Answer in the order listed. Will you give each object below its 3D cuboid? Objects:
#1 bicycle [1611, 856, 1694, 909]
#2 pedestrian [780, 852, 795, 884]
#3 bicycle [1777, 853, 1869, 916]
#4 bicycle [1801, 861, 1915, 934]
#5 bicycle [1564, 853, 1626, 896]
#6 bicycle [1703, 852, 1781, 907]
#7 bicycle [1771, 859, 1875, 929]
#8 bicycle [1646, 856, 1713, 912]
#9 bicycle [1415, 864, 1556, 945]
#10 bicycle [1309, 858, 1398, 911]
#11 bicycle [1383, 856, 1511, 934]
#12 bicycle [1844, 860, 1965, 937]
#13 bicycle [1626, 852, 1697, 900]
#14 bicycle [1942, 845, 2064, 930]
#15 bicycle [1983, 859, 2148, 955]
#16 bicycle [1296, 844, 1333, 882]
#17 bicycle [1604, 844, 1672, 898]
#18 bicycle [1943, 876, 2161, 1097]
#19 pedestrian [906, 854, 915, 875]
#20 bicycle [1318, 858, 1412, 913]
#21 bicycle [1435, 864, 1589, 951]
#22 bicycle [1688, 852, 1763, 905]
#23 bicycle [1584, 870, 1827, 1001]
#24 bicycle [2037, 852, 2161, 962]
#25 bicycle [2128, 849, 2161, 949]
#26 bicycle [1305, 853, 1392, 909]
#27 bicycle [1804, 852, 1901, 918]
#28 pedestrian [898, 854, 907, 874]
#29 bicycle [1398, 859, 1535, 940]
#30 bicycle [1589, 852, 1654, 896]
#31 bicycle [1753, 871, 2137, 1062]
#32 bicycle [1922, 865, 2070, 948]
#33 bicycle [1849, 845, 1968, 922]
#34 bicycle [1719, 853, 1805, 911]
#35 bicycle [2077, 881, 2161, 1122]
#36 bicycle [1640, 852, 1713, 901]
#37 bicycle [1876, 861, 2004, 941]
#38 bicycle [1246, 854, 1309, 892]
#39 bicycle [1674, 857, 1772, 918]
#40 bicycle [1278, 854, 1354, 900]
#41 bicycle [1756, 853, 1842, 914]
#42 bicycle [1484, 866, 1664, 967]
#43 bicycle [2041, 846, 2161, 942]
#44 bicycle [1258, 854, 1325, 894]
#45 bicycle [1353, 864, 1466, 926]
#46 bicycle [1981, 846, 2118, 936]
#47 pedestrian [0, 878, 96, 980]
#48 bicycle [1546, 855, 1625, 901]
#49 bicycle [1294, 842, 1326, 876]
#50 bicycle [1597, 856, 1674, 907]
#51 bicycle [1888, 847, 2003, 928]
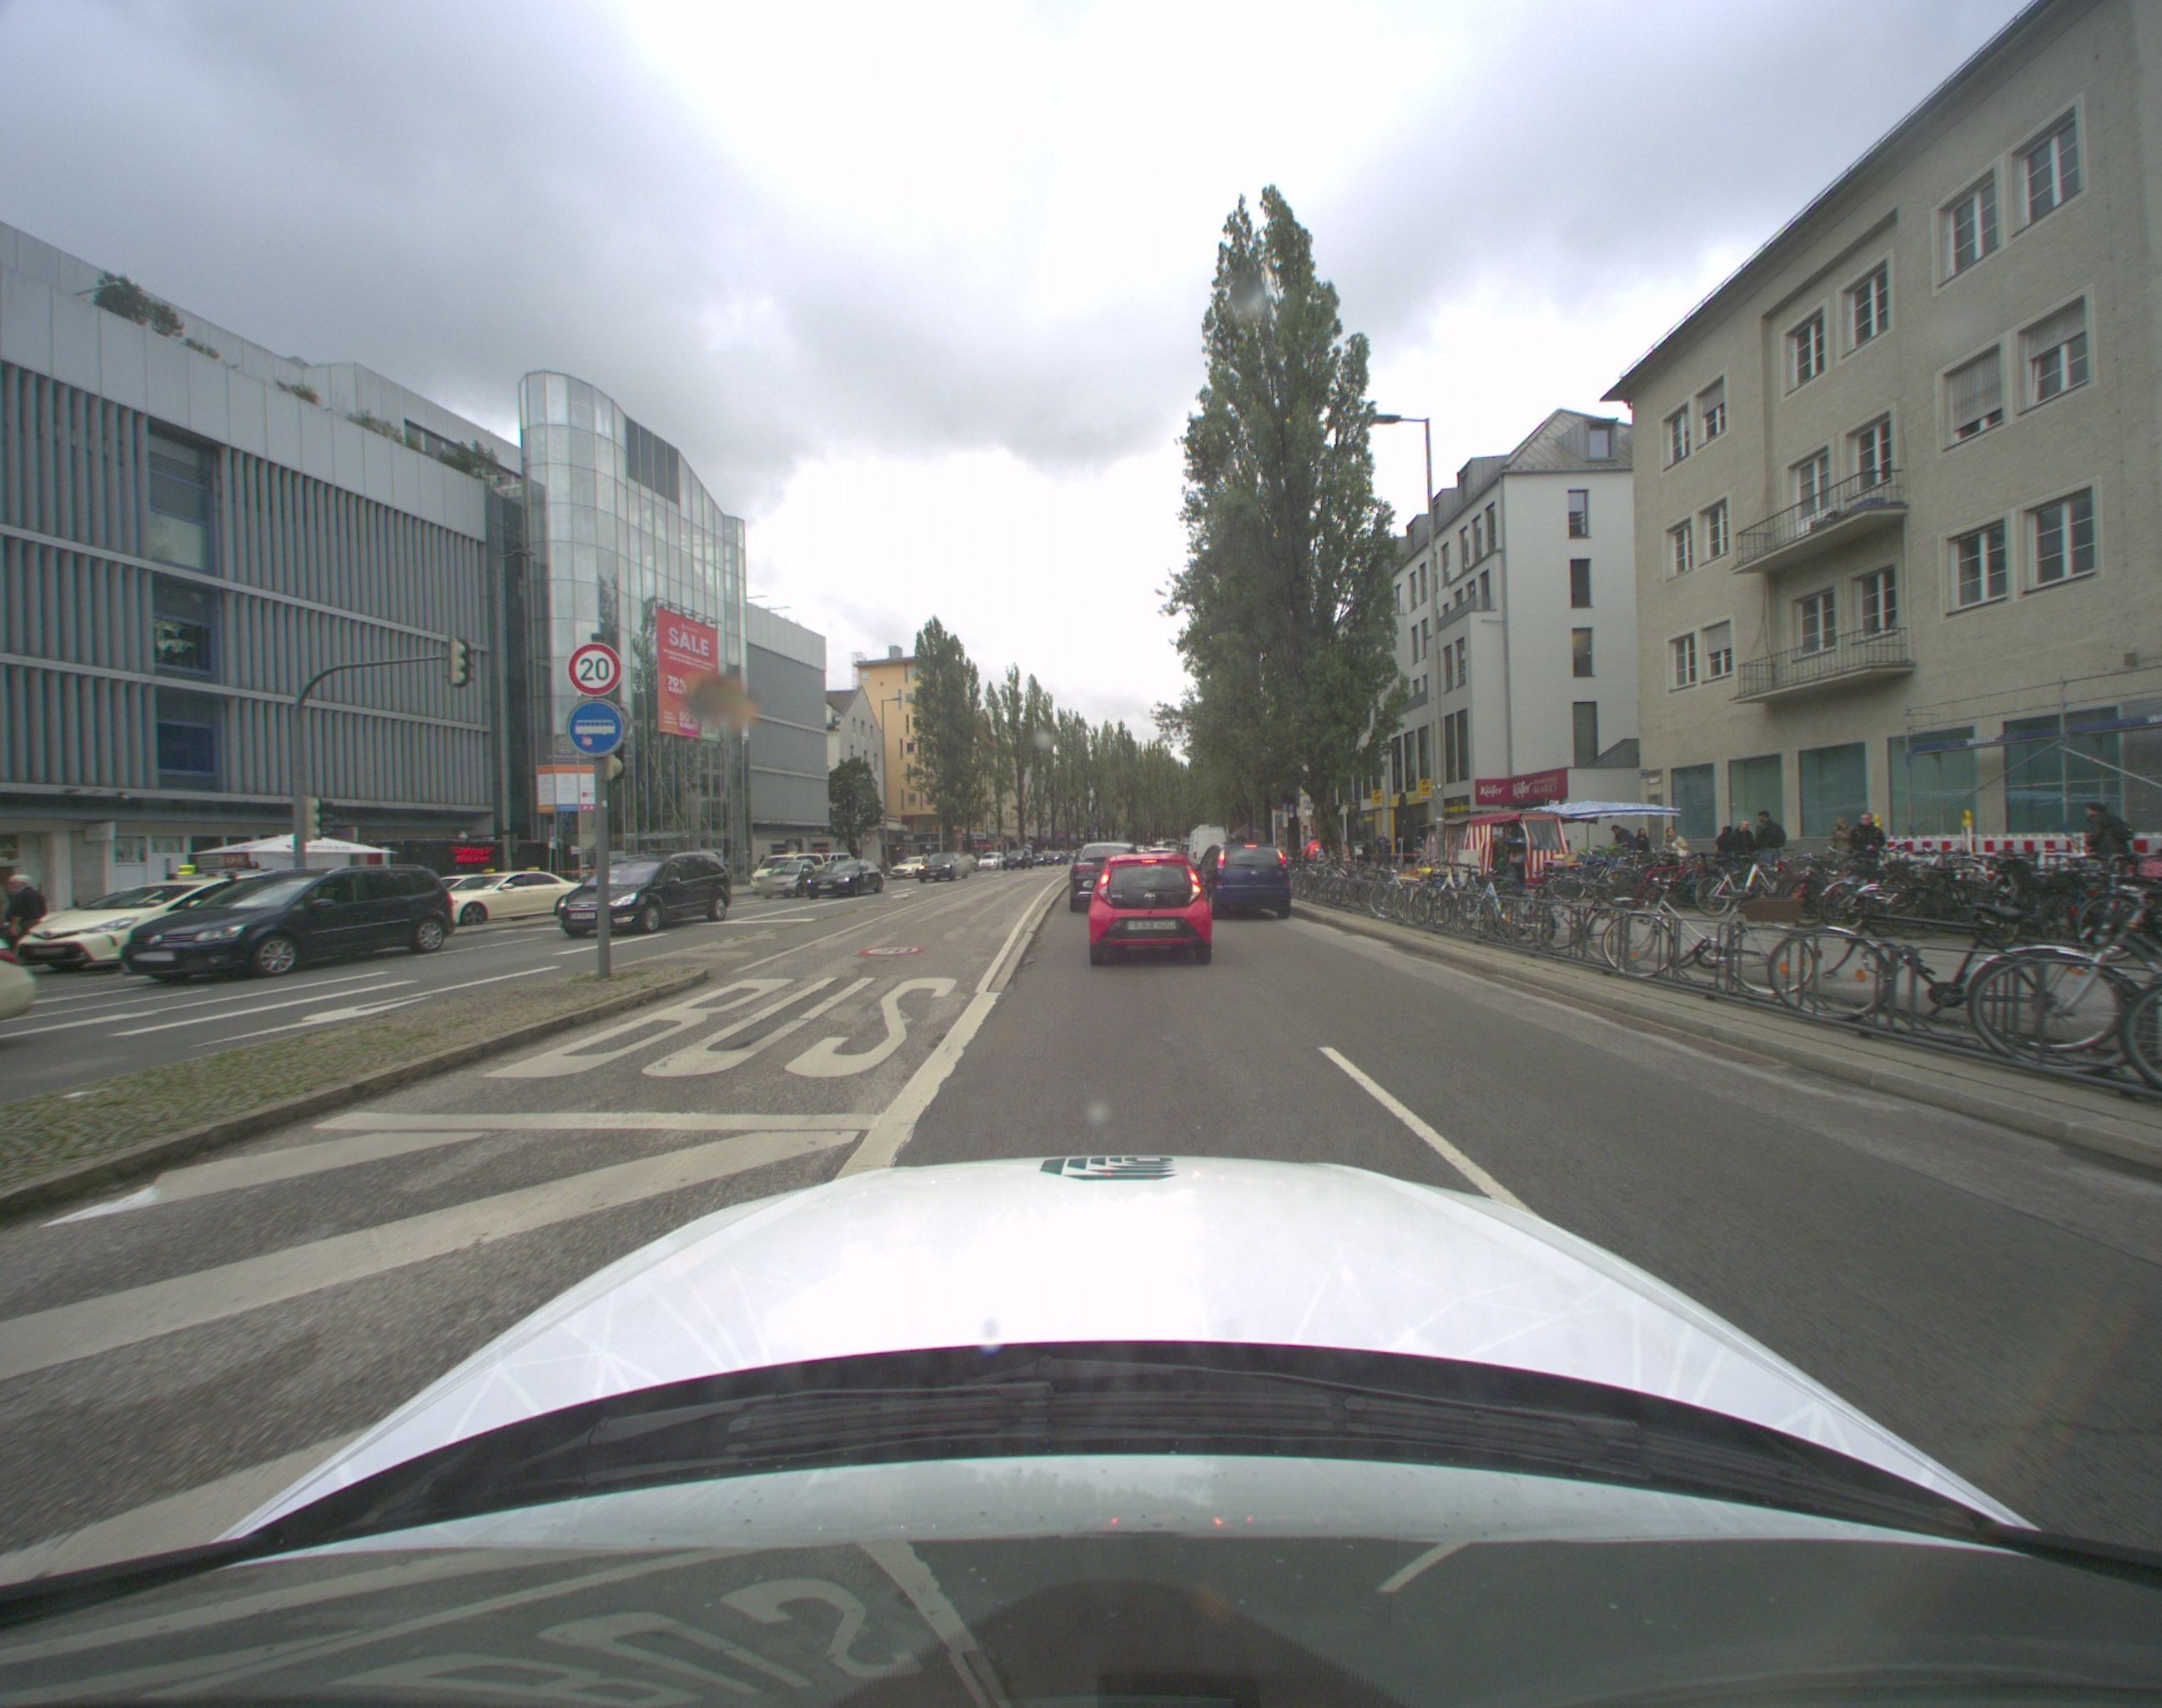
[{"bbox_3d":[11.082,0.553,15.816,1.253,0.963,0.370,-2,0,10],"label":"bicycle"},{"bbox_3d":[-17.242,0.831,47.883,0.553,1.817,0.630,-2,0,12],"label":"pedestrian"},{"bbox_3d":[12.237,0.494,13.433,1.242,0.981,0.368,-2,0,-6],"label":"bicycle"},{"bbox_3d":[10.908,0.602,11.450,1.175,0.963,0.370,-2,0,5],"label":"bicycle"},{"bbox_3d":[12.208,0.482,19.354,1.240,0.963,0.369,-2,0,-1],"label":"bicycle"},{"bbox_3d":[12.388,0.469,15.268,1.243,0.981,0.368,-2,0,-8],"label":"bicycle"},{"bbox_3d":[10.916,0.581,11.993,1.177,0.963,0.369,-2,0,-1],"label":"bicycle"},{"bbox_3d":[11.030,0.547,15.012,1.229,0.963,0.367,-2,0,-21],"label":"bicycle"},{"bbox_3d":[5.962,0.711,12.075,1.782,1.111,0.494,-1,0,44],"label":"bicycle"},{"bbox_3d":[6.142,0.671,18.421,1.815,1.136,0.590,-1,0,44],"label":"bicycle"},{"bbox_3d":[6.042,0.657,13.520,1.815,1.197,0.590,-1,0,44],"label":"bicycle"},{"bbox_3d":[10.901,0.584,10.800,1.127,0.963,0.370,-2,0,7],"label":"bicycle"},{"bbox_3d":[12.484,0.460,17.522,1.240,0.981,0.369,-2,0,-1],"label":"bicycle"},{"bbox_3d":[12.395,0.440,10.957,1.326,1.075,0.368,-2,0,-6],"label":"bicycle"},{"bbox_3d":[10.826,0.574,8.972,1.309,0.999,0.369,-2,0,2],"label":"bicycle"},{"bbox_3d":[8.194,0.294,28.661,0.611,1.265,2.521,-2,0,2],"label":"bicycle"},{"bbox_3d":[12.400,0.377,18.137,1.240,1.140,0.369,-2,0,-1],"label":"bicycle"},{"bbox_3d":[6.083,0.712,4.463,1.782,1.158,0.490,-1,0,31],"label":"bicycle"},{"bbox_3d":[-17.129,1.043,81.690,0.685,1.997,0.765,-2,0,0],"label":"pedestrian"},{"bbox_3d":[6.141,0.667,17.659,1.815,1.136,0.590,-1,0,44],"label":"bicycle"},{"bbox_3d":[6.001,0.715,11.409,1.782,1.111,0.590,-1,0,44],"label":"bicycle"},{"bbox_3d":[12.472,0.468,15.767,1.243,0.981,0.368,-2,0,-8],"label":"bicycle"},{"bbox_3d":[5.982,0.730,7.904,1.781,1.111,0.656,-1,0,38],"label":"bicycle"},{"bbox_3d":[10.895,0.533,8.466,1.412,1.077,0.369,-2,0,2],"label":"bicycle"},{"bbox_3d":[12.463,0.470,9.009,1.424,1.075,0.368,-2,0,-6],"label":"bicycle"},{"bbox_3d":[6.248,0.616,19.087,1.815,1.241,0.590,-1,0,44],"label":"bicycle"},{"bbox_3d":[12.134,0.476,12.820,1.242,0.981,0.368,-2,0,-6],"label":"bicycle"},{"bbox_3d":[-17.874,1.037,81.687,0.685,1.997,0.766,-2,0,2],"label":"pedestrian"},{"bbox_3d":[5.996,0.678,12.738,1.815,1.168,0.590,-1,0,44],"label":"bicycle"},{"bbox_3d":[12.500,0.463,18.838,1.240,0.963,0.369,-2,0,-1],"label":"bicycle"},{"bbox_3d":[6.008,0.716,5.842,1.781,1.158,0.656,-1,0,37],"label":"bicycle"},{"bbox_3d":[10.799,0.609,9.629,1.287,0.915,0.369,-2,0,2],"label":"bicycle"},{"bbox_3d":[12.386,0.431,12.194,1.498,1.075,0.368,-2,0,-6],"label":"bicycle"},{"bbox_3d":[12.249,0.490,14.651,1.240,0.981,0.369,-2,0,-2],"label":"bicycle"},{"bbox_3d":[6.125,0.717,3.807,1.782,1.158,0.490,-1,0,30],"label":"bicycle"},{"bbox_3d":[12.379,0.462,16.948,1.240,0.981,0.369,-2,0,-1],"label":"bicycle"},{"bbox_3d":[10.906,0.586,10.360,1.127,0.963,0.370,-2,0,7],"label":"bicycle"},{"bbox_3d":[6.164,0.584,25.547,1.814,1.136,0.590,-1,0,37],"label":"bicycle"},{"bbox_3d":[10.866,0.556,13.795,1.399,0.963,0.369,-2,0,-4],"label":"bicycle"},{"bbox_3d":[6.145,0.604,21.349,1.814,1.136,0.590,-1,0,37],"label":"bicycle"},{"bbox_3d":[12.336,0.492,13.999,1.243,0.981,0.368,-2,0,-8],"label":"bicycle"},{"bbox_3d":[5.996,0.722,9.981,1.782,1.111,0.566,-1,0,43],"label":"bicycle"},{"bbox_3d":[12.419,0.466,9.799,1.424,1.075,0.368,-2,0,-6],"label":"bicycle"},{"bbox_3d":[6.215,0.592,24.078,1.814,1.136,0.590,-1,0,37],"label":"bicycle"},{"bbox_3d":[5.992,0.722,14.929,1.815,1.052,0.590,-1,0,44],"label":"bicycle"},{"bbox_3d":[12.357,0.464,10.393,1.424,1.075,0.368,-2,0,-6],"label":"bicycle"},{"bbox_3d":[-18.079,1.287,14.231,0.766,1.690,0.753,-2,0,6],"label":"pedestrian"},{"bbox_3d":[11.002,0.523,17.791,1.424,0.963,0.370,-2,0,7],"label":"bicycle"},{"bbox_3d":[9.064,0.188,32.277,0.611,1.265,2.521,-2,0,2],"label":"bicycle"},{"bbox_3d":[11.088,0.546,16.300,1.255,0.963,0.370,-2,0,4],"label":"bicycle"},{"bbox_3d":[12.210,0.459,11.510,1.326,1.075,0.368,-2,0,-6],"label":"bicycle"}]
